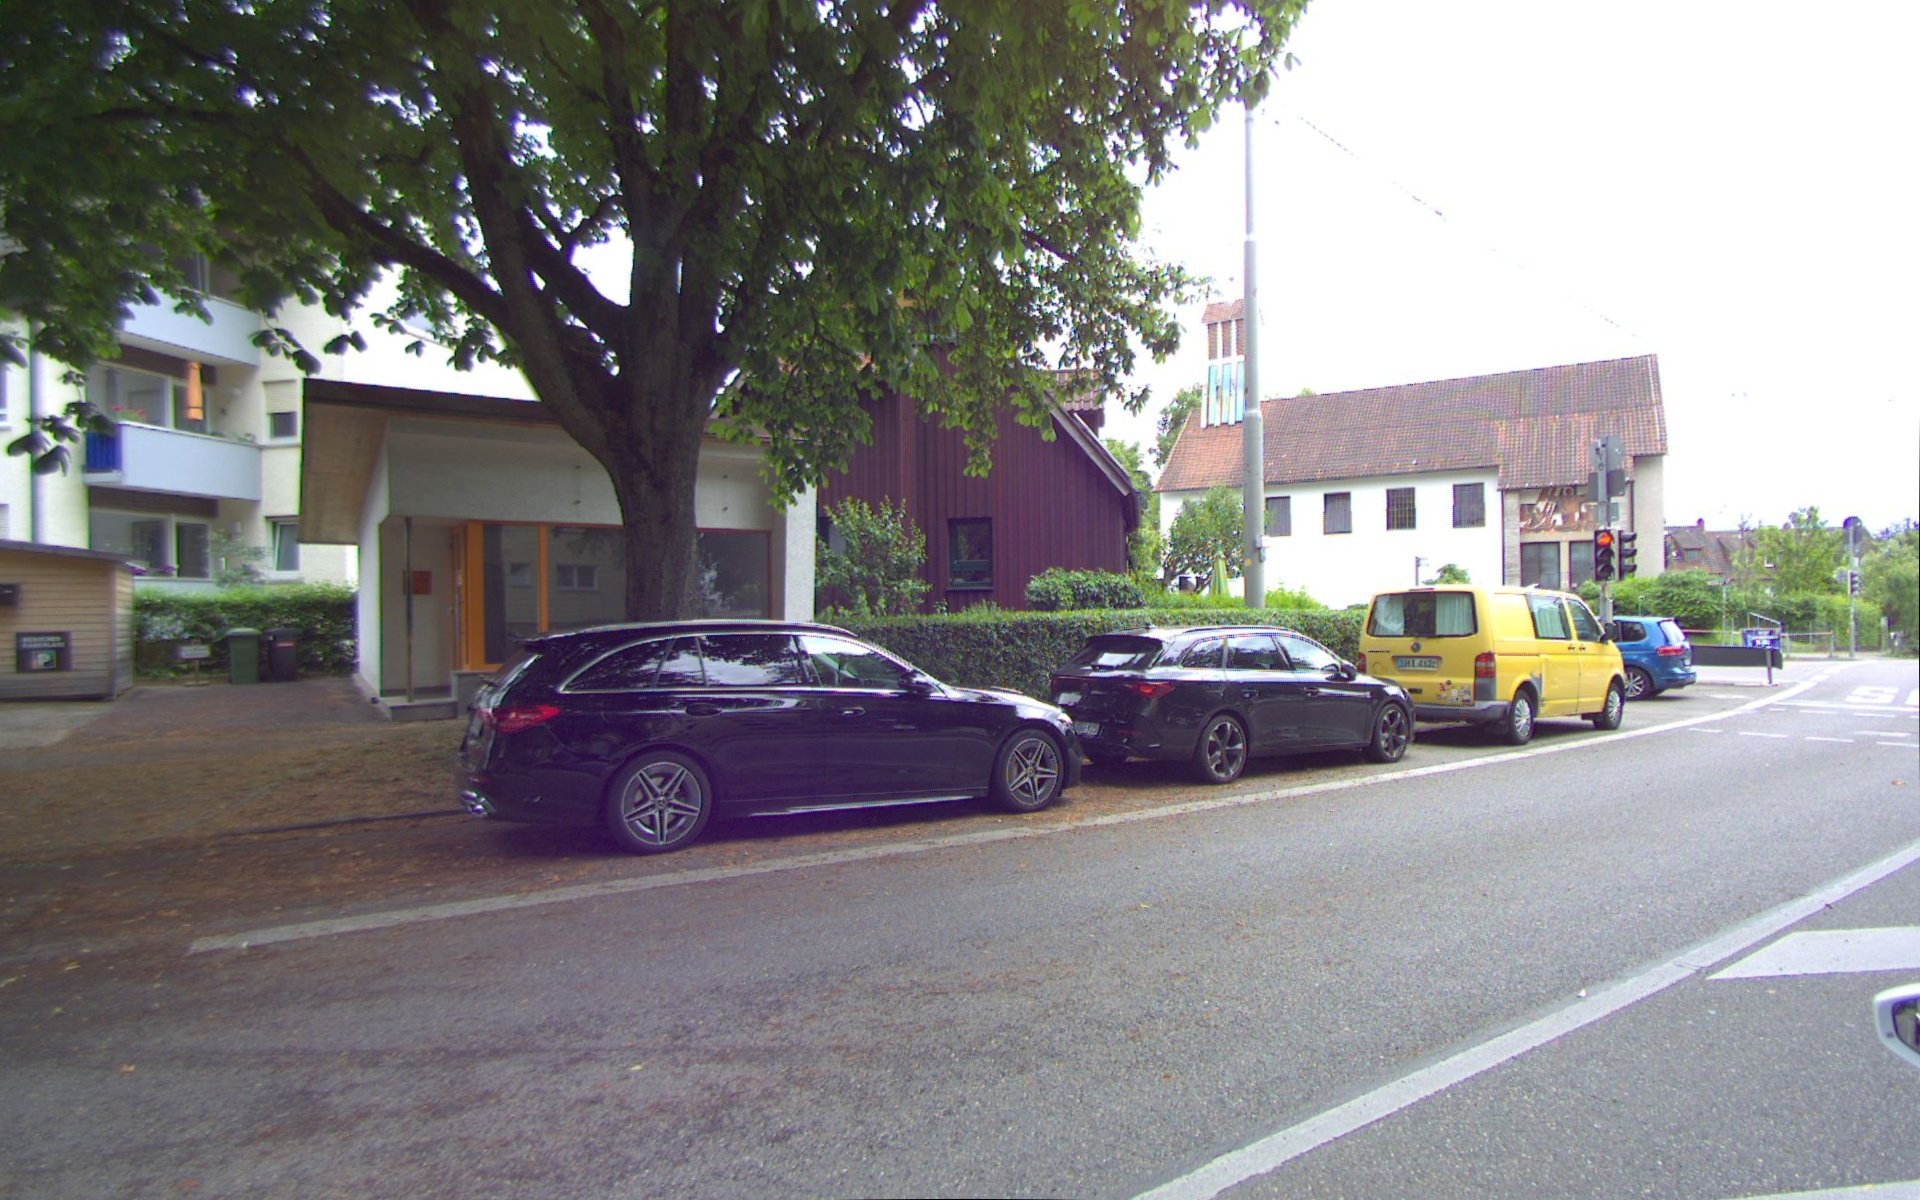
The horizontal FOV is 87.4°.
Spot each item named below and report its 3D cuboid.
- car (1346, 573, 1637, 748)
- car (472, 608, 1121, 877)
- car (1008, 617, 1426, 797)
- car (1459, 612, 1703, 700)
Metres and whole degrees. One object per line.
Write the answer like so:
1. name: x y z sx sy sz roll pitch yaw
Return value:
1. car: 7.421 0.761 13.846 4.525 2.040 1.869 1 -2 -38
2. car: -1.151 0.860 7.763 4.563 1.520 1.983 1 -2 -32
3. car: 2.780 0.948 10.405 4.496 1.505 1.680 1 -2 -35
4. car: 12.657 1.118 20.622 3.946 1.632 1.807 -3 -3 45
